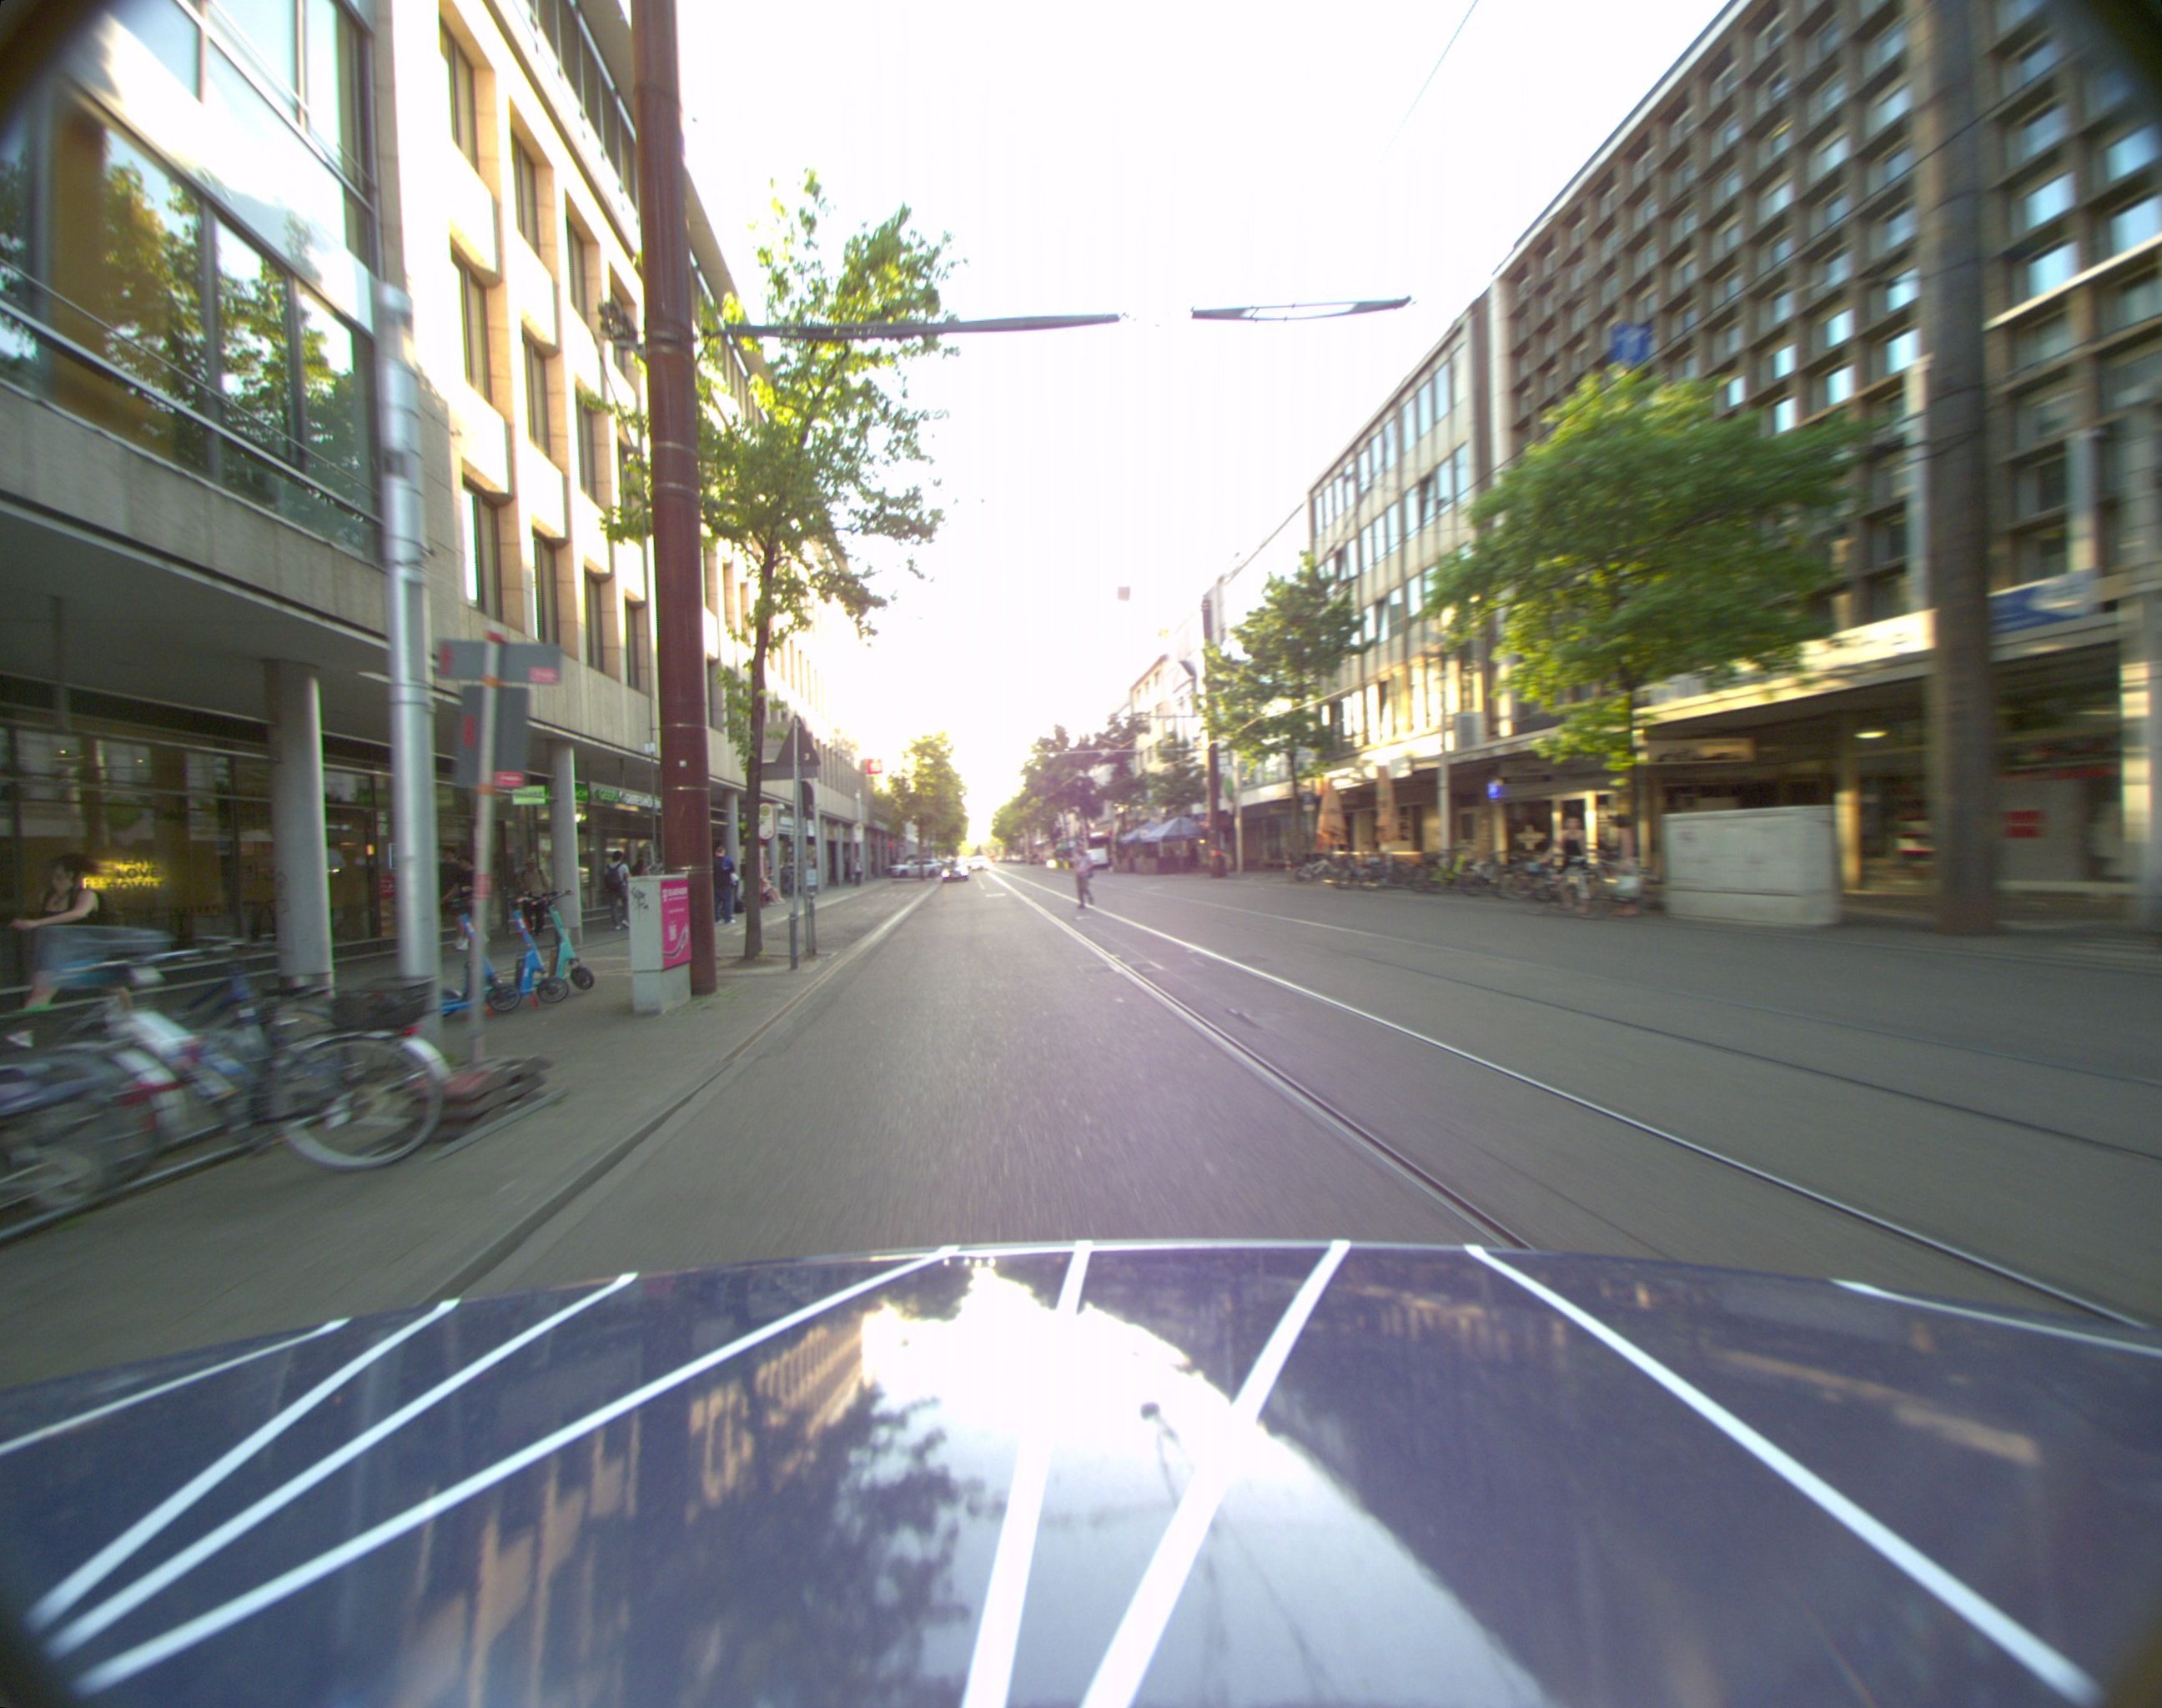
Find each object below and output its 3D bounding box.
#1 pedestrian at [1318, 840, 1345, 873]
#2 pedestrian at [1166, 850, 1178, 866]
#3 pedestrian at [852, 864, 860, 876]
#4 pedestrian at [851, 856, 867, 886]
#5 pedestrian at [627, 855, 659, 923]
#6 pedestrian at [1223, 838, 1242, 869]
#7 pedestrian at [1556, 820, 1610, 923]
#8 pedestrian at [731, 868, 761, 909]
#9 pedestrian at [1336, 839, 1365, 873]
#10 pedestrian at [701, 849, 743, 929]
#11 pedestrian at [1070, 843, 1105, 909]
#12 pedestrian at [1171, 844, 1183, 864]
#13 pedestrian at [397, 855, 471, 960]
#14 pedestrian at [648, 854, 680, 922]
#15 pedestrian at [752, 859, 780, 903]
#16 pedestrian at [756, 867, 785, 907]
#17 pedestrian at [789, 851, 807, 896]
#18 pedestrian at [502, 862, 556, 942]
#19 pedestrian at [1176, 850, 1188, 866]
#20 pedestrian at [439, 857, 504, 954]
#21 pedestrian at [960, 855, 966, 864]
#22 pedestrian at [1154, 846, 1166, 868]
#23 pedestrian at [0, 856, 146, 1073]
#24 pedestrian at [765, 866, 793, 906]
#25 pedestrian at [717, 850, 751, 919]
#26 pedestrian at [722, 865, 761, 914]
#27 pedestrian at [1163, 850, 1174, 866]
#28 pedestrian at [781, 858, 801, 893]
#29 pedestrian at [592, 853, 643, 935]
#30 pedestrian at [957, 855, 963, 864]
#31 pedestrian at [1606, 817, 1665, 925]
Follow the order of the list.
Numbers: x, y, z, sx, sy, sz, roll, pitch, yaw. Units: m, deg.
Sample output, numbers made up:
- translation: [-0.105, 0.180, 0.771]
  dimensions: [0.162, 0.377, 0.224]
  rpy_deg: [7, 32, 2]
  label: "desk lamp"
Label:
- translation: [10.512, 0.099, 31.919]
  dimensions: [0.672, 1.318, 0.911]
  rpy_deg: [-5, 1, -9]
  label: "pedestrian"
- translation: [6.787, 0.307, 56.857]
  dimensions: [0.643, 1.150, 0.665]
  rpy_deg: [-5, 2, -10]
  label: "pedestrian"
- translation: [-19.098, 1.356, 64.527]
  dimensions: [0.628, 1.030, 0.557]
  rpy_deg: [-1, 1, -16]
  label: "pedestrian"
- translation: [-12.182, 0.905, 41.670]
  dimensions: [0.671, 1.579, 0.637]
  rpy_deg: [-4, 1, -8]
  label: "pedestrian"
- translation: [-11.866, 0.932, 20.602]
  dimensions: [0.541, 1.796, 0.603]
  rpy_deg: [-1, 1, -9]
  label: "pedestrian"
- translation: [8.884, -0.029, 44.674]
  dimensions: [0.686, 1.782, 0.989]
  rpy_deg: [-5, 2, -7]
  label: "pedestrian"
- translation: [8.435, 0.292, 12.792]
  dimensions: [0.602, 1.689, 0.536]
  rpy_deg: [-3, 0, 21]
  label: "pedestrian"
- translation: [-11.215, 1.143, 25.456]
  dimensions: [0.720, 1.307, 0.532]
  rpy_deg: [-3, 1, -6]
  label: "pedestrian"
- translation: [10.907, 0.089, 30.770]
  dimensions: [0.672, 1.318, 0.911]
  rpy_deg: [-5, 1, -9]
  label: "pedestrian"
- translation: [-8.382, 0.803, 17.755]
  dimensions: [0.671, 1.829, 0.707]
  rpy_deg: [-1, 1, -8]
  label: "pedestrian"
- translation: [0.186, 0.592, 21.157]
  dimensions: [0.821, 1.782, 0.991]
  rpy_deg: [-2, 1, 7]
  label: "pedestrian"
- translation: [7.484, 0.001, 59.474]
  dimensions: [0.663, 1.426, 0.642]
  rpy_deg: [-7, 2, -8]
  label: "pedestrian"
- translation: [-11.949, 0.962, 14.056]
  dimensions: [0.689, 1.872, 0.773]
  rpy_deg: [-1, 1, -9]
  label: "pedestrian"
- translation: [-11.292, 0.906, 20.605]
  dimensions: [0.541, 1.796, 0.603]
  rpy_deg: [-1, 1, -9]
  label: "pedestrian"
- translation: [-11.309, 0.962, 27.292]
  dimensions: [0.726, 1.561, 0.735]
  rpy_deg: [-1, 1, -6]
  label: "pedestrian"
- translation: [-10.495, 1.107, 25.665]
  dimensions: [0.720, 1.307, 0.532]
  rpy_deg: [-3, 1, -6]
  label: "pedestrian"
- translation: [-12.478, 0.851, 33.495]
  dimensions: [0.580, 1.933, 0.655]
  rpy_deg: [-1, 1, -8]
  label: "pedestrian"
- translation: [-11.774, 1.006, 16.221]
  dimensions: [0.650, 1.652, 0.680]
  rpy_deg: [-1, 1, -7]
  label: "pedestrian"
- translation: [7.572, 0.268, 57.108]
  dimensions: [0.643, 1.150, 0.665]
  rpy_deg: [-5, 2, -10]
  label: "pedestrian"
- translation: [-11.281, 0.930, 14.080]
  dimensions: [0.584, 1.743, 0.773]
  rpy_deg: [-1, 1, -9]
  label: "pedestrian"
- translation: [-18.776, 0.860, 120.746]
  dimensions: [0.651, 1.451, 0.649]
  rpy_deg: [-2, 1, -24]
  label: "pedestrian"
- translation: [5.663, 0.211, 54.443]
  dimensions: [0.658, 1.544, 0.564]
  rpy_deg: [-5, 2, -10]
  label: "pedestrian"
- translation: [-8.974, 0.909, 6.551]
  dimensions: [0.775, 1.762, 0.773]
  rpy_deg: [-1, 1, -9]
  label: "pedestrian"
- translation: [-10.411, 1.095, 26.227]
  dimensions: [0.720, 1.307, 0.524]
  rpy_deg: [-3, 1, -6]
  label: "pedestrian"
- translation: [-9.483, 0.820, 20.781]
  dimensions: [0.641, 1.829, 0.667]
  rpy_deg: [-1, 1, -7]
  label: "pedestrian"
- translation: [-9.881, 1.026, 22.150]
  dimensions: [0.815, 1.373, 0.662]
  rpy_deg: [-3, 1, -6]
  label: "pedestrian"
- translation: [6.676, 0.299, 57.926]
  dimensions: [0.643, 1.150, 0.665]
  rpy_deg: [-5, 2, -10]
  label: "pedestrian"
- translation: [-13.936, 1.010, 36.499]
  dimensions: [0.689, 1.652, 0.721]
  rpy_deg: [-1, 1, -7]
  label: "pedestrian"
- translation: [-10.824, 0.911, 17.761]
  dimensions: [0.671, 1.829, 0.879]
  rpy_deg: [-1, 1, -8]
  label: "pedestrian"
- translation: [-18.805, 0.830, 118.099]
  dimensions: [0.651, 1.451, 0.649]
  rpy_deg: [-2, 1, -24]
  label: "pedestrian"
- translation: [8.974, 0.274, 12.311]
  dimensions: [0.602, 1.689, 0.536]
  rpy_deg: [-3, 0, 21]
  label: "pedestrian"
